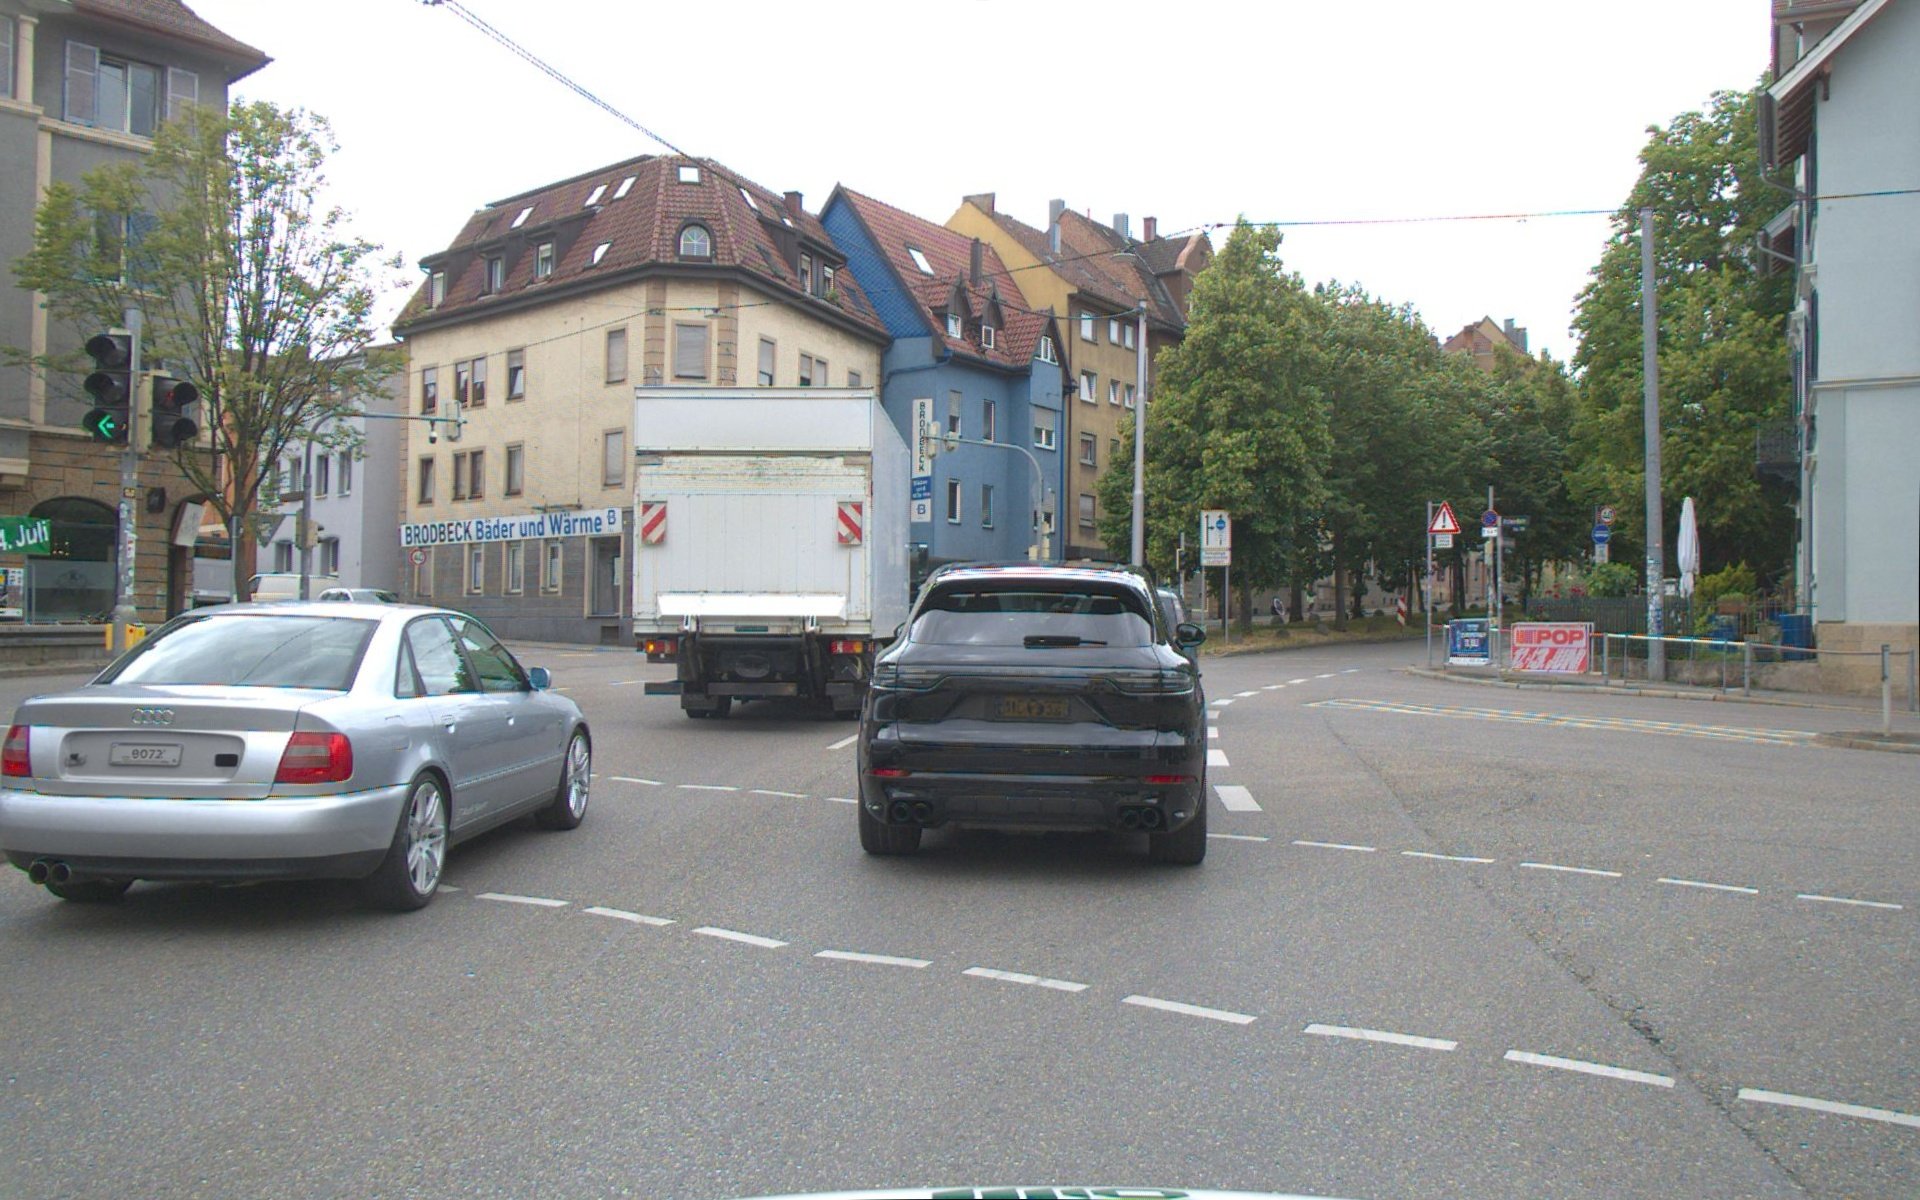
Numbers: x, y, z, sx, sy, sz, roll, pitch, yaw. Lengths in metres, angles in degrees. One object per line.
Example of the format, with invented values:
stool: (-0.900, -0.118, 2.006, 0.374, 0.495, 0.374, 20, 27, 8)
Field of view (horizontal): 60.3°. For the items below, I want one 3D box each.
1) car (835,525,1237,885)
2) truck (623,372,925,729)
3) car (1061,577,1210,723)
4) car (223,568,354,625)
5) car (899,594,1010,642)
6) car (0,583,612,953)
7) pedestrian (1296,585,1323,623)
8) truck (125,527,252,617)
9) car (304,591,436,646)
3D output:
car: (0.607, 0.504, 10.563, 1.988, 1.753, 4.503, 1, 0, 6)
truck: (-1.996, -0.516, 21.140, 2.669, 3.606, 8.423, 1, 0, 1)
car: (2.258, 0.583, 20.558, 1.613, 1.583, 3.585, 2, 0, 9)
car: (-22.938, -0.130, 56.485, 4.245, 1.831, 2.059, 1, 0, 33)
car: (-0.140, 0.606, 54.848, 1.686, 1.502, 4.207, -1, -1, 33)
car: (-3.124, 0.643, 8.572, 1.595, 1.389, 4.129, 2, 0, 2)
pedestrian: (19.280, 0.208, 91.129, 1.170, 2.049, 0.987, 1, 0, 31)
truck: (-30.978, -1.119, 66.372, 5.343, 3.412, 2.682, 2, -1, 42)
car: (-16.834, 0.524, 47.146, 3.903, 1.495, 1.870, 0, -1, 41)
